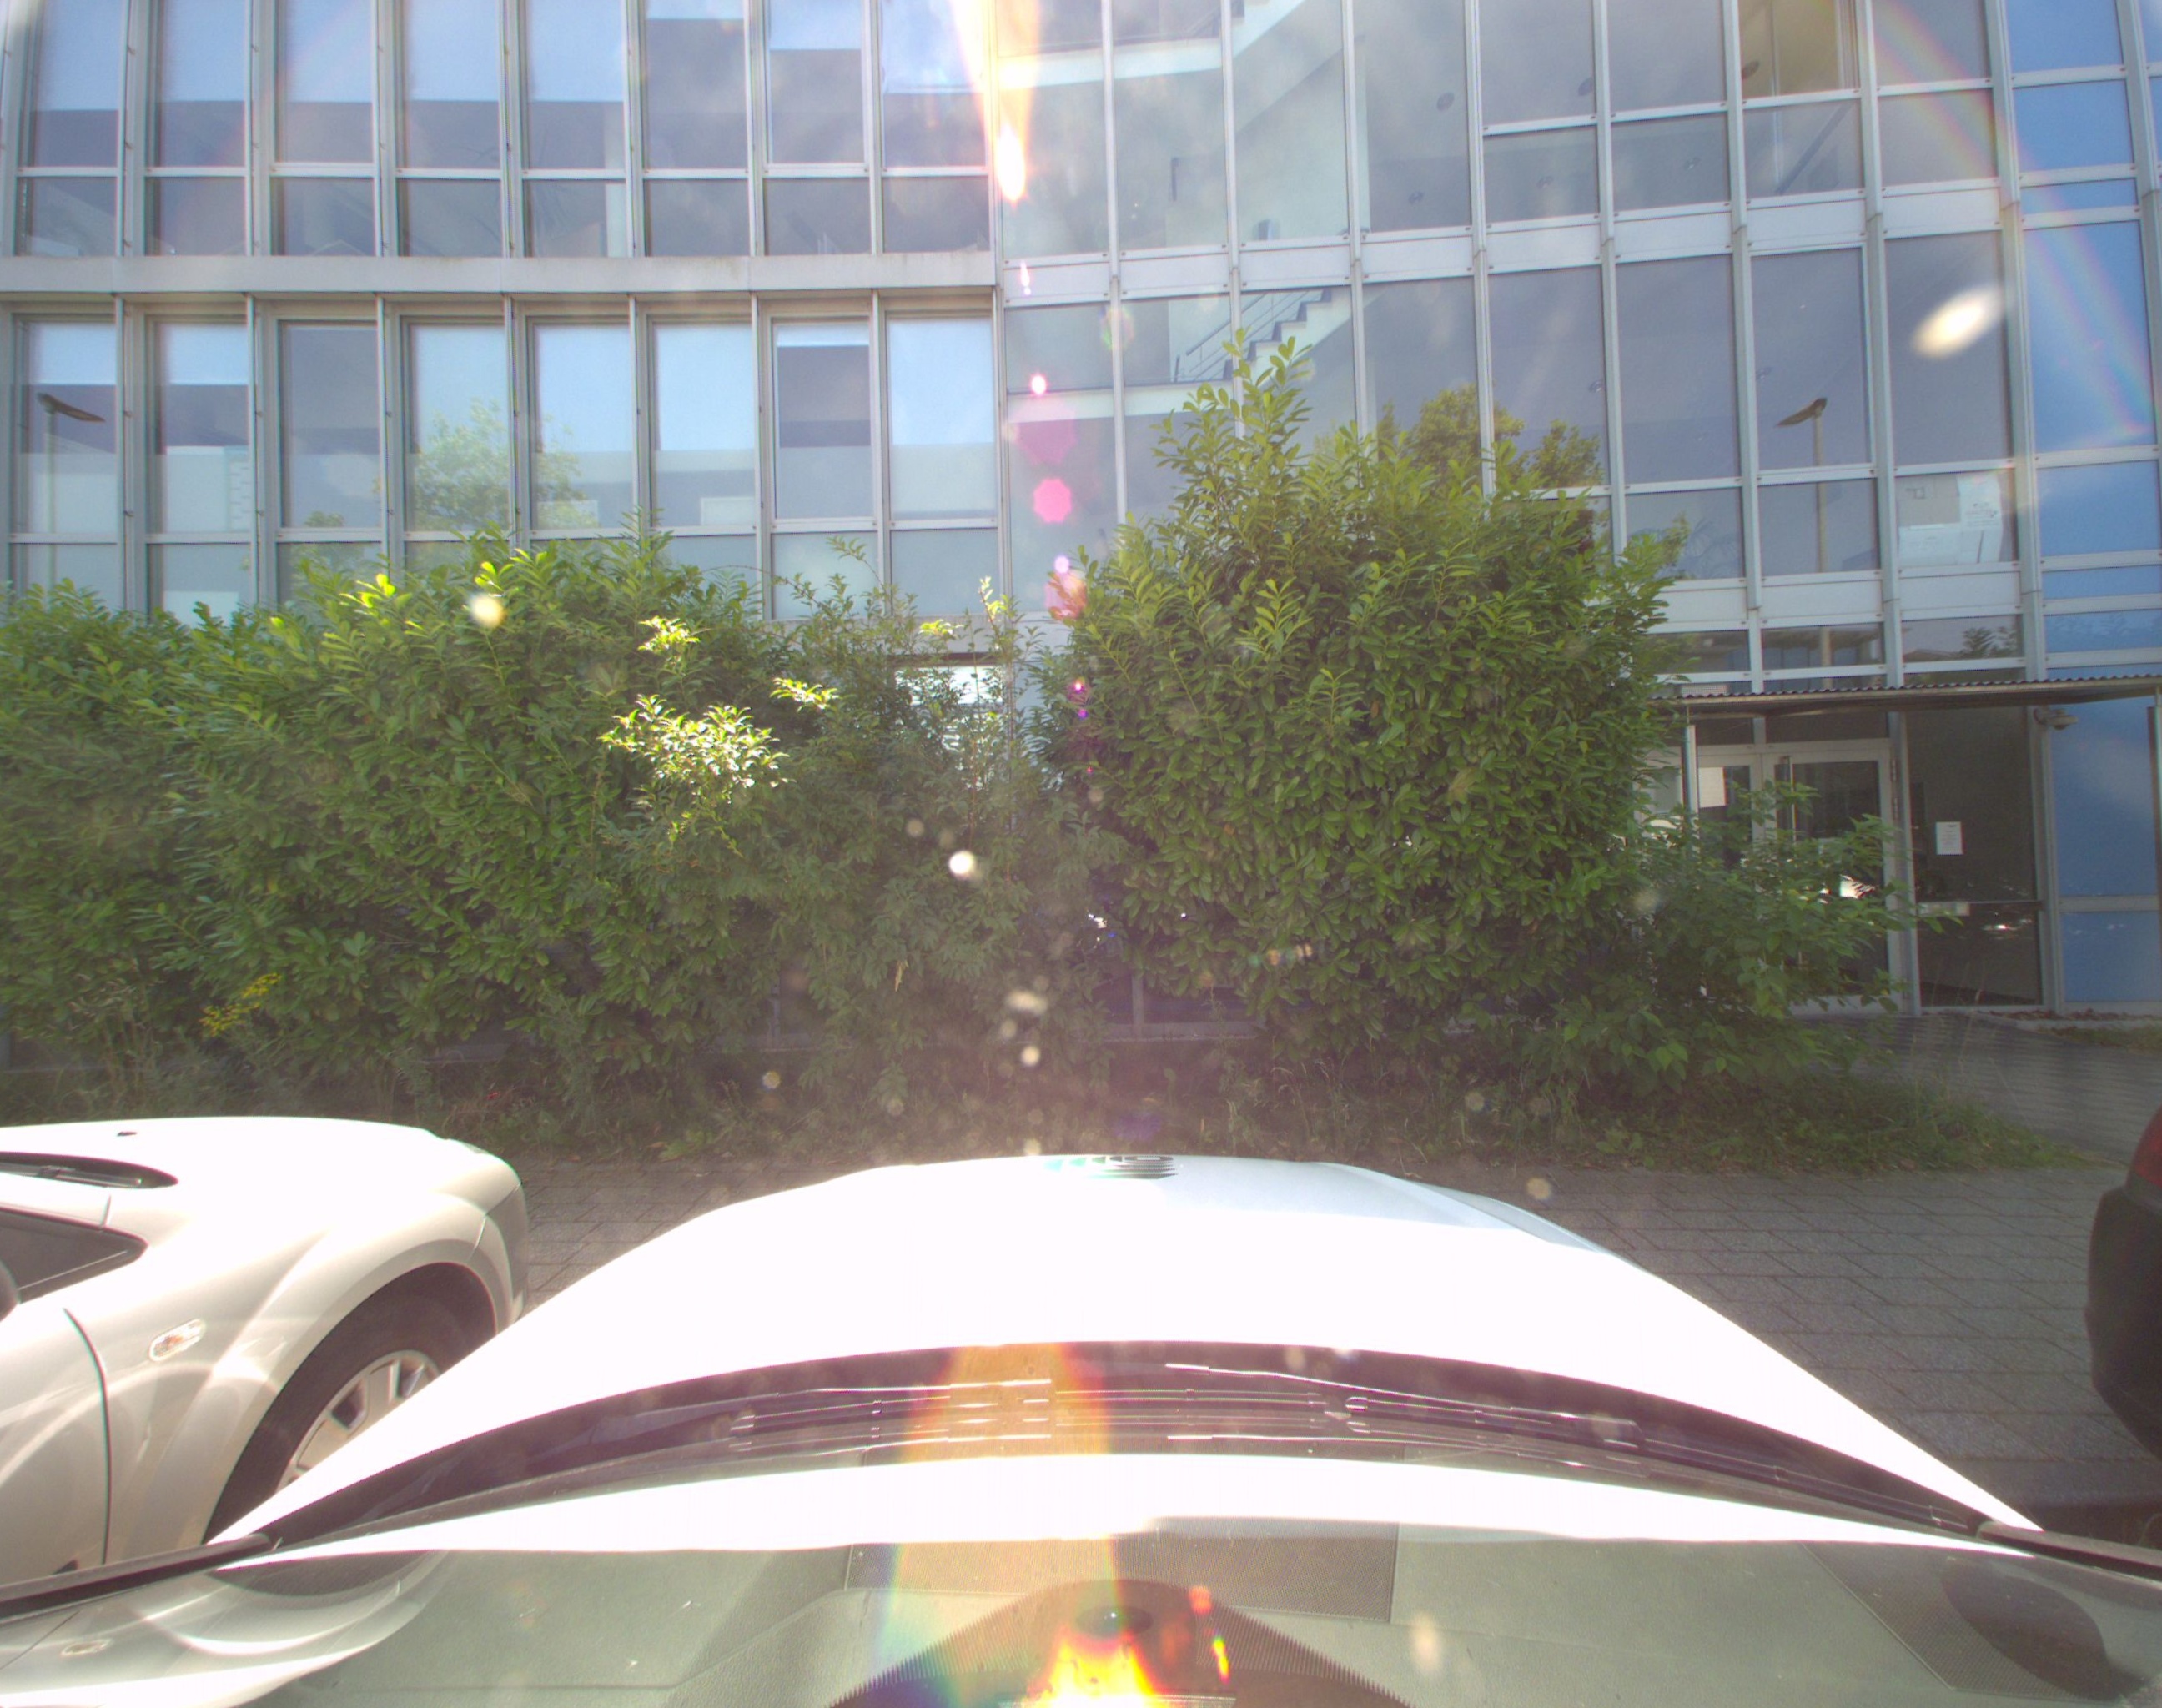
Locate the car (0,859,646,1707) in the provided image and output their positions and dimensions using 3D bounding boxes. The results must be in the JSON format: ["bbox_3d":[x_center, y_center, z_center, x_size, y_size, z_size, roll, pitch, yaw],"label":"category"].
[{"bbox_3d":[-2.163,0.758,0.191,1.713,1.479,4.349,-1,0,1],"label":"car"}]
